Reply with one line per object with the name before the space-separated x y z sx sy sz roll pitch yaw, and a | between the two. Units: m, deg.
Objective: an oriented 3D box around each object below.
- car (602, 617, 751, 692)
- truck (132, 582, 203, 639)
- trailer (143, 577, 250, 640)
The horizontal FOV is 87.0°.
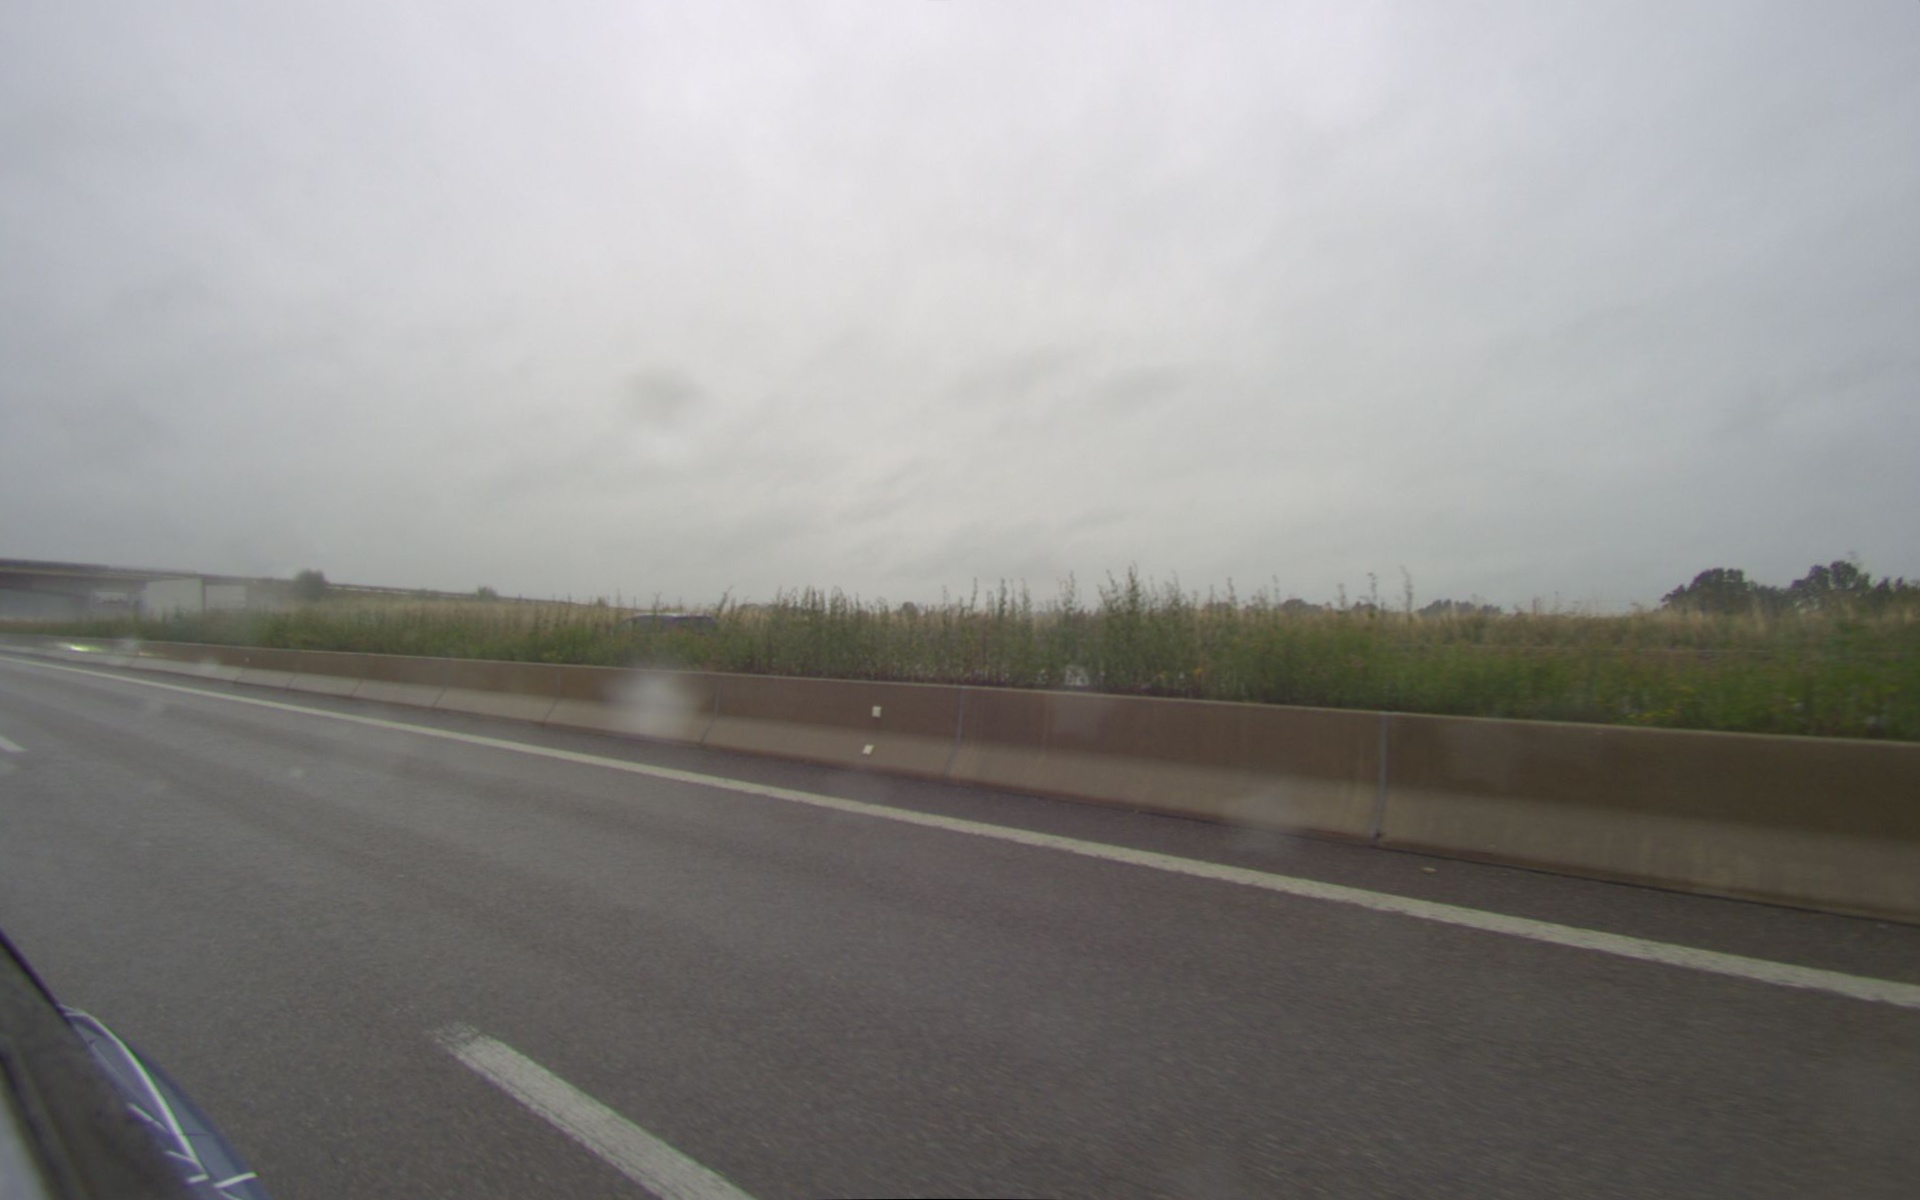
car | -7.268 1.333 25.781 3.998 1.741 1.736 -1 -1 41
truck | -58.488 0.770 74.639 6.212 4.024 2.923 -1 -1 40
trailer | -52.820 0.649 69.768 14.296 4.012 2.914 -1 -1 41
